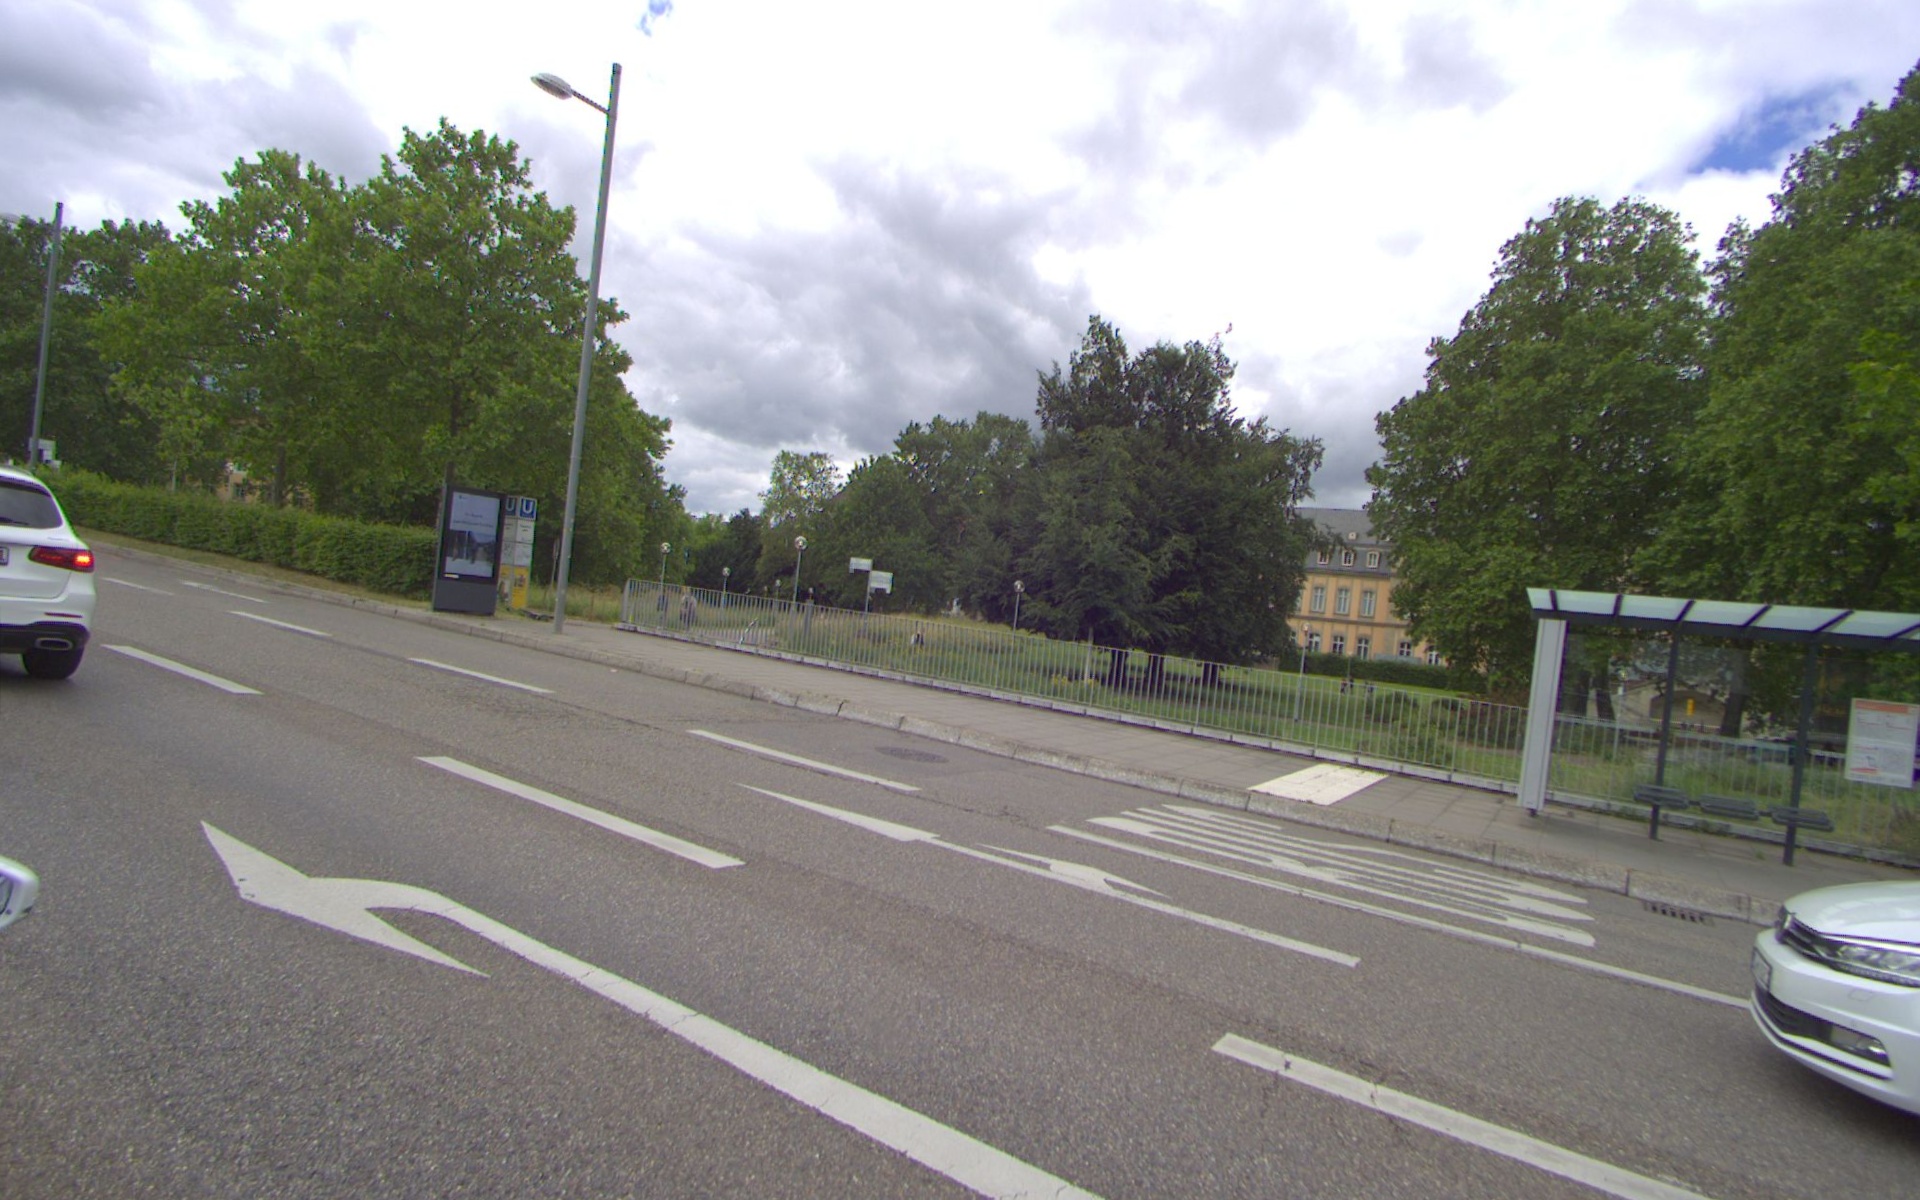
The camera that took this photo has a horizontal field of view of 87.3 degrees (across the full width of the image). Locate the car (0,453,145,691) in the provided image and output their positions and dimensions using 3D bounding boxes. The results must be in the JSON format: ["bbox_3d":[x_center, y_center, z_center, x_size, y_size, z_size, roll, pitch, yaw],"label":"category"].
[{"bbox_3d":[-8.758,-0.461,8.177,4.416,1.673,1.929,8,-1,33],"label":"car"}]

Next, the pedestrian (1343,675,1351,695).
[{"bbox_3d":[34.971,7.677,90.867,0.460,1.756,0.405,6,-2,32],"label":"pedestrian"}]

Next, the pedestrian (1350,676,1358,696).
[{"bbox_3d":[35.650,7.794,91.025,0.460,1.725,0.405,6,-2,32],"label":"pedestrian"}]

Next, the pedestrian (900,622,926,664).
[{"bbox_3d":[-1.931,1.768,41.385,0.650,1.619,0.679,8,-2,-27],"label":"pedestrian"}]

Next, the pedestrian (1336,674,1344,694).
[{"bbox_3d":[34.316,7.586,90.820,0.461,1.756,0.405,6,-2,37],"label":"pedestrian"}]

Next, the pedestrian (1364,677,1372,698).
[{"bbox_3d":[36.493,7.832,89.970,0.460,1.756,0.405,6,-2,32],"label":"pedestrian"}]

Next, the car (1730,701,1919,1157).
[{"bbox_3d":[5.702,1.516,3.663,4.232,1.659,1.997,7,-1,31],"label":"car"}]
